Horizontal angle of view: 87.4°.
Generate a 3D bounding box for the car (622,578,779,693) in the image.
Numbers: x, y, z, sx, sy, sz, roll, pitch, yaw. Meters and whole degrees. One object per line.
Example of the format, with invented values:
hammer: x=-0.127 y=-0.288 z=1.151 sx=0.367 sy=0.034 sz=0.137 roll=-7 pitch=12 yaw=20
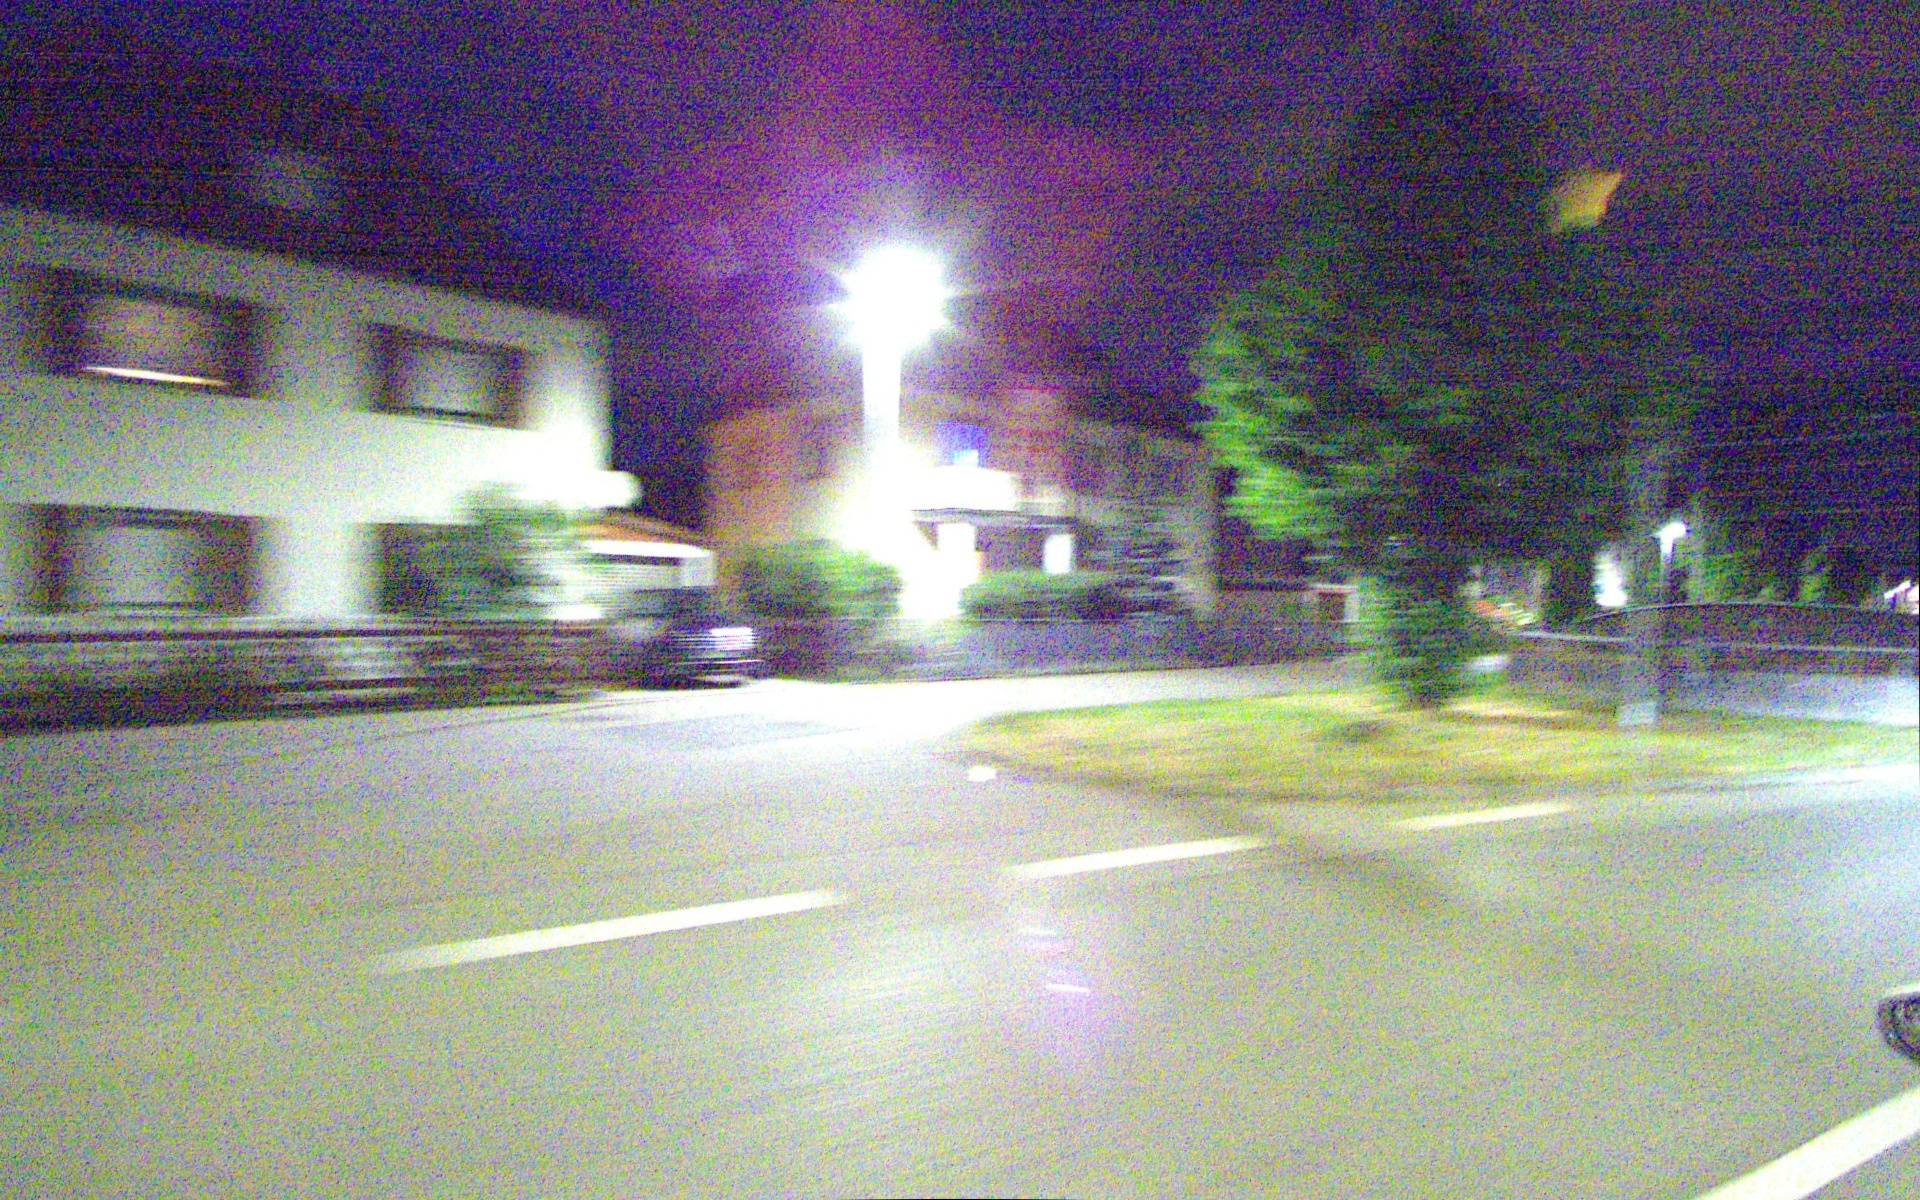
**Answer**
car: x=-4.373 y=0.517 z=16.532 sx=1.760 sy=1.649 sz=3.699 roll=1 pitch=0 yaw=-27
